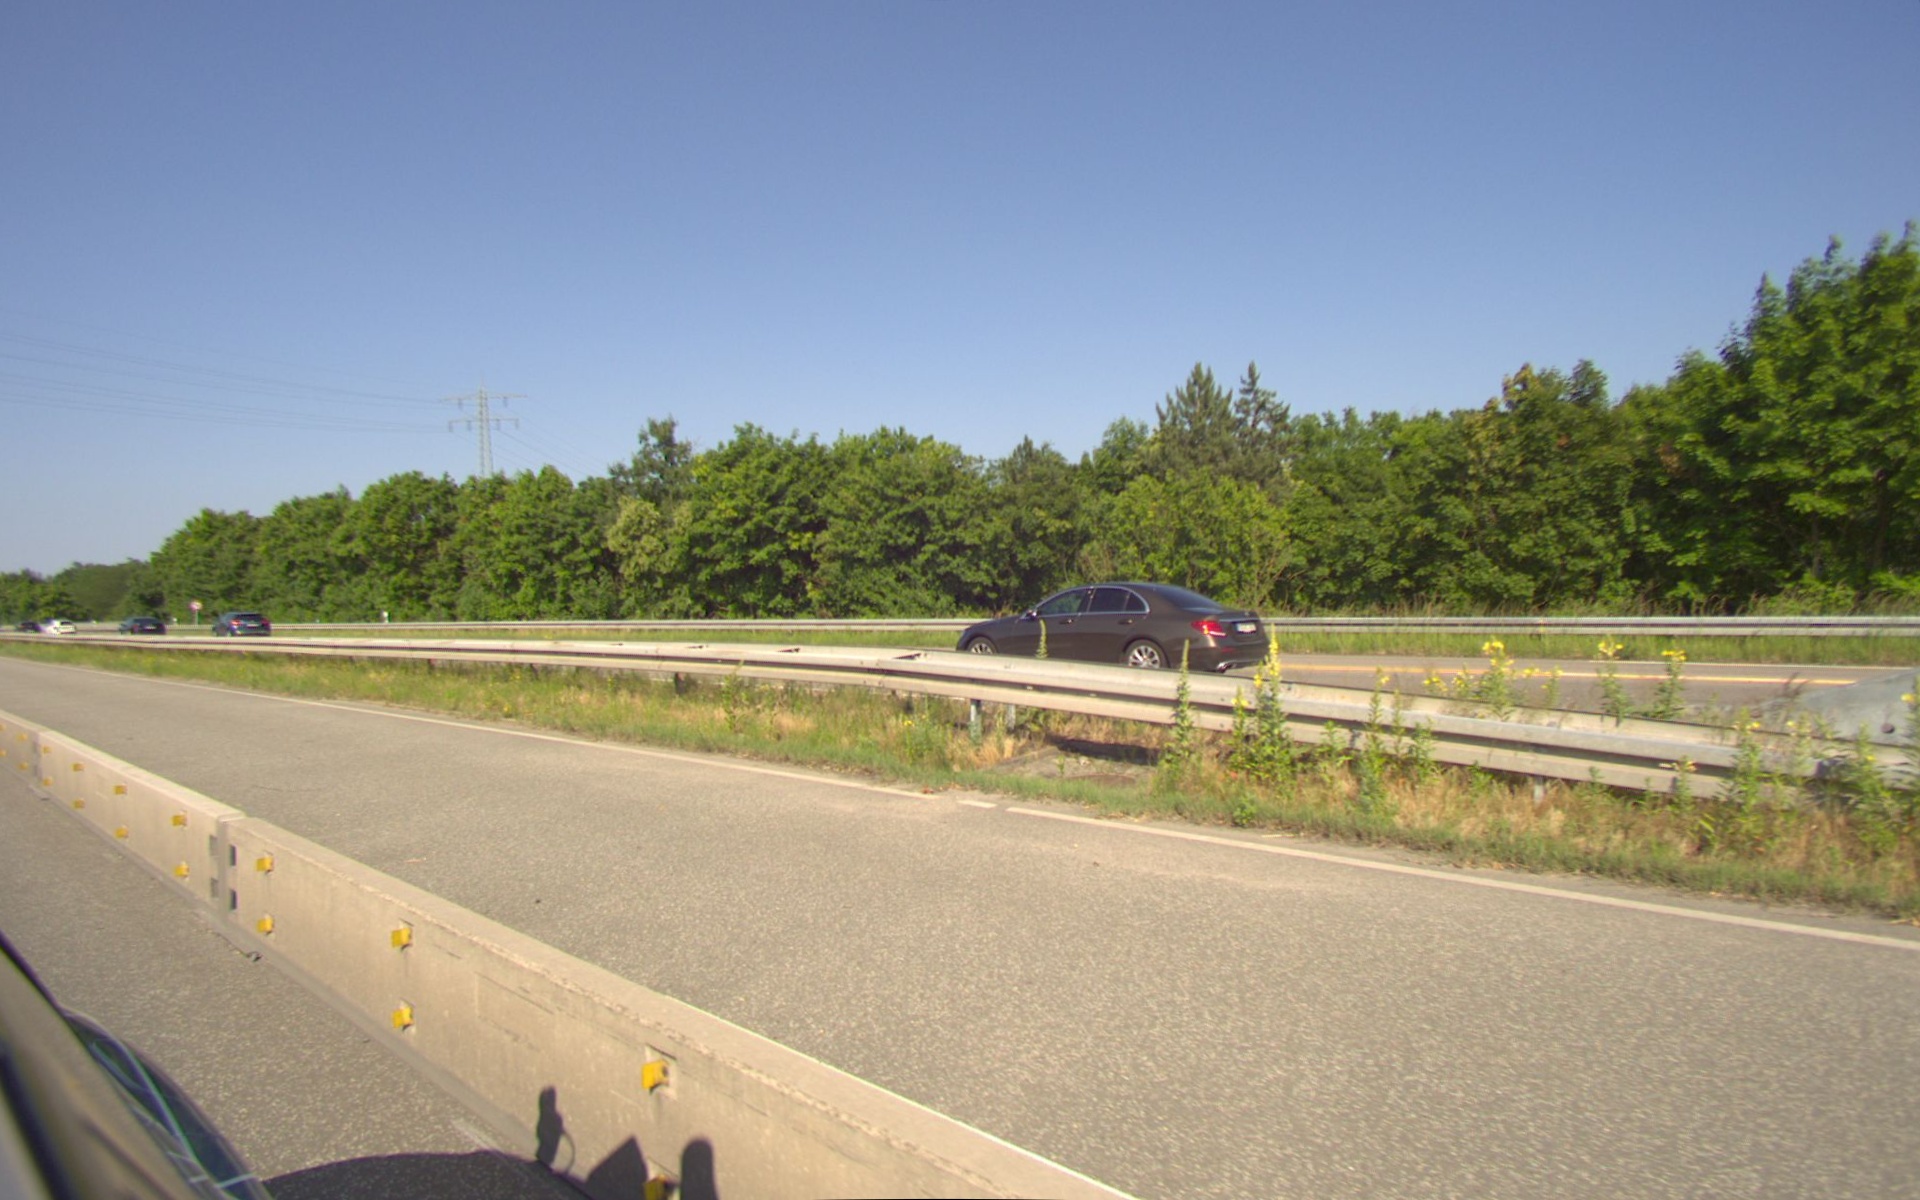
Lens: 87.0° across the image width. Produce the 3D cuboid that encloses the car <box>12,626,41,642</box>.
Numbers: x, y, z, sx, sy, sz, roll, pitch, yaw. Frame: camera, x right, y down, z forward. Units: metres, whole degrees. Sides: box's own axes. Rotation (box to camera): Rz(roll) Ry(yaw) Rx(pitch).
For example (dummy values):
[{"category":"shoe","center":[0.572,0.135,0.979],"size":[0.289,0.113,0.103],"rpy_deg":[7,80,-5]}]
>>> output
[{"category":"car","center":[-92.808,3.387,100.606],"size":[4.107,1.505,1.720],"rpy_deg":[-2,0,41]}]

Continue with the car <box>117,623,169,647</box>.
[{"category":"car","center":[-52.432,2.232,64.914],"size":[5.022,1.499,1.796],"rpy_deg":[-2,-2,42]}]

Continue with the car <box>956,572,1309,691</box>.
[{"category":"car","center":[2.322,0.434,14.606],"size":[4.812,1.451,1.819],"rpy_deg":[-2,-1,43]}]

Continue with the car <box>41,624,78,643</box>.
[{"category":"car","center":[-79.075,2.957,88.857],"size":[4.791,1.481,1.742],"rpy_deg":[-2,1,41]}]

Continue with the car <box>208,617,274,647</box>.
[{"category":"car","center":[-37.430,1.662,52.625],"size":[4.590,1.445,1.778],"rpy_deg":[-2,0,41]}]
